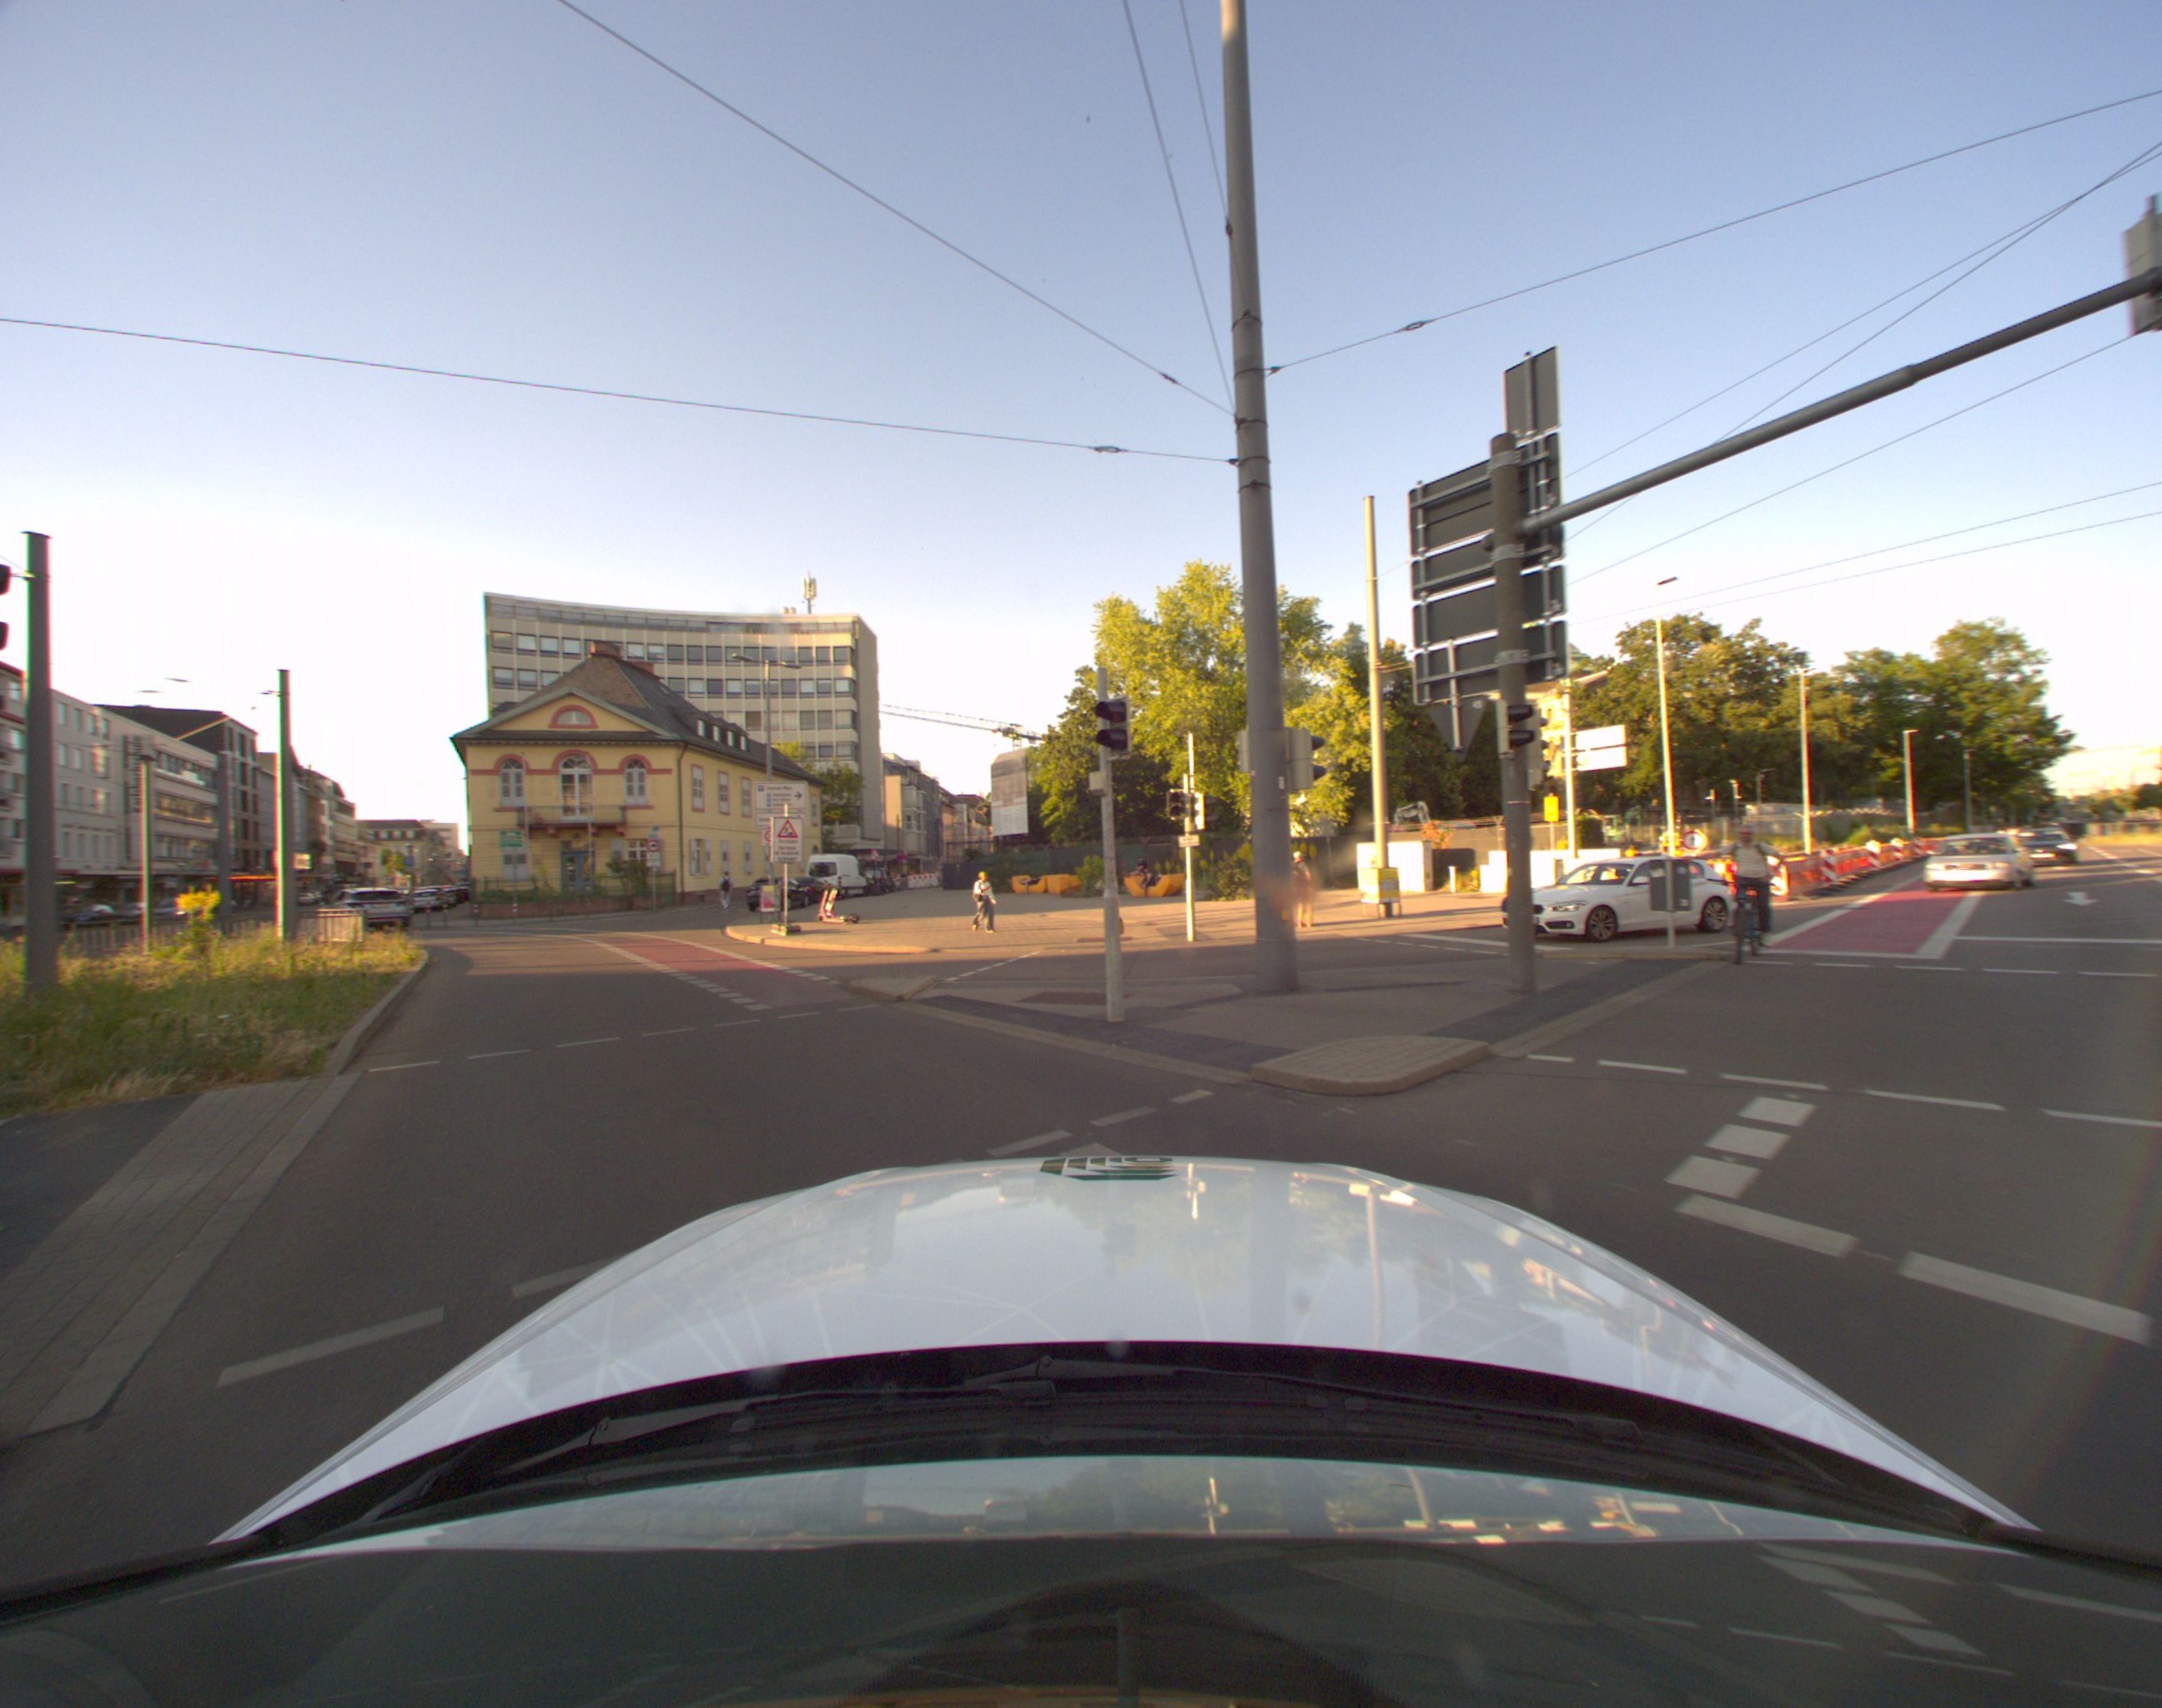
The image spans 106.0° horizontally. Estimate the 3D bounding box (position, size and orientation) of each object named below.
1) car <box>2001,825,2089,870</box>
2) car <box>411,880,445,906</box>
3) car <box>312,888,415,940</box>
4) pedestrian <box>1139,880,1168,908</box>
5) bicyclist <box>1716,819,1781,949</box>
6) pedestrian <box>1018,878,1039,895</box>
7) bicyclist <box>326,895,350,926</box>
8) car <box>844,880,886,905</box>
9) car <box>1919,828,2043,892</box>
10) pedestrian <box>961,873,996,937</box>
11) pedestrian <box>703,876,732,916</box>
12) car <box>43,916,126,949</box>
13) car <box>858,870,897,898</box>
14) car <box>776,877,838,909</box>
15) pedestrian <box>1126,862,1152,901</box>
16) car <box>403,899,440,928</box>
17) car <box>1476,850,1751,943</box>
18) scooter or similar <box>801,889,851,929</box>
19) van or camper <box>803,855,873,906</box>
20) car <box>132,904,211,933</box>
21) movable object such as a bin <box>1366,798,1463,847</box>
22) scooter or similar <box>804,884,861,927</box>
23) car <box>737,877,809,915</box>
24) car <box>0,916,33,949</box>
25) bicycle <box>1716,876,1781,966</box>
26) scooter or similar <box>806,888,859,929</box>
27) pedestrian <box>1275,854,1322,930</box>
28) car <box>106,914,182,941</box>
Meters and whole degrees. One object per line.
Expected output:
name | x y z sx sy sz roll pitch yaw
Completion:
car | 37.925 -0.258 32.021 4.412 1.617 1.922 -2 -1 -37
car | -46.068 2.756 57.536 1.746 1.708 3.762 -1 -2 -37
car | -26.115 2.136 29.604 4.477 1.661 1.962 -3 -1 37
pedestrian | 3.183 1.735 35.744 0.994 1.158 0.727 -1 -2 -34
bicyclist | 8.960 0.393 10.937 0.588 1.671 0.753 -3 -1 40
pedestrian | -2.765 1.715 42.806 0.969 0.893 0.565 -3 -2 35
bicyclist | -39.342 2.989 43.135 0.836 1.569 0.778 -1 -2 -38
car | -14.113 2.501 53.415 1.687 1.459 4.097 -2 -1 0
car | 24.593 0.167 22.232 3.741 1.561 1.663 -1 -4 -34
pedestrian | -2.704 1.335 21.415 0.692 1.613 0.590 -2 -1 -31
pedestrian | -16.034 1.828 35.935 0.873 1.724 0.830 -1 -1 2
car | -60.295 4.690 49.360 2.007 1.666 3.959 -1 -1 -32
car | -14.329 2.071 57.595 1.707 1.849 4.021 -2 -1 0
car | -14.007 1.965 41.943 1.724 1.430 4.471 -2 -1 -1
pedestrian | 2.589 1.225 36.447 0.825 1.665 0.756 -2 -1 -34
car | -42.926 3.856 53.057 1.746 1.708 3.400 -2 -2 -37
car | 9.753 0.732 14.981 4.301 1.406 1.905 -2 -2 -18
scooter or similar | -7.957 1.721 25.424 1.392 1.166 0.462 -2 -1 7
van or camper | -14.134 1.524 47.906 2.070 2.775 6.449 -2 -1 0
car | -58.633 4.131 52.609 2.212 1.559 4.237 -1 -1 -31
movable object such as a bin | 15.999 -1.448 39.420 1.993 2.014 5.009 -2 -1 -9
scooter or similar | -7.911 1.641 25.956 1.639 1.293 0.462 -2 -1 6
car | -13.893 1.869 37.035 1.774 1.543 4.286 -2 -1 -3
car | -52.048 3.812 38.301 2.007 1.465 4.356 -2 -1 -32
bicycle | 8.917 0.851 10.857 0.589 1.023 1.859 -3 -1 41
scooter or similar | -8.100 1.780 26.575 1.514 1.260 0.613 -2 -1 6
pedestrian | 5.191 0.897 19.462 0.935 1.736 0.824 -2 -1 9
car | -63.034 4.926 54.876 2.007 1.666 4.590 2 -4 -32
